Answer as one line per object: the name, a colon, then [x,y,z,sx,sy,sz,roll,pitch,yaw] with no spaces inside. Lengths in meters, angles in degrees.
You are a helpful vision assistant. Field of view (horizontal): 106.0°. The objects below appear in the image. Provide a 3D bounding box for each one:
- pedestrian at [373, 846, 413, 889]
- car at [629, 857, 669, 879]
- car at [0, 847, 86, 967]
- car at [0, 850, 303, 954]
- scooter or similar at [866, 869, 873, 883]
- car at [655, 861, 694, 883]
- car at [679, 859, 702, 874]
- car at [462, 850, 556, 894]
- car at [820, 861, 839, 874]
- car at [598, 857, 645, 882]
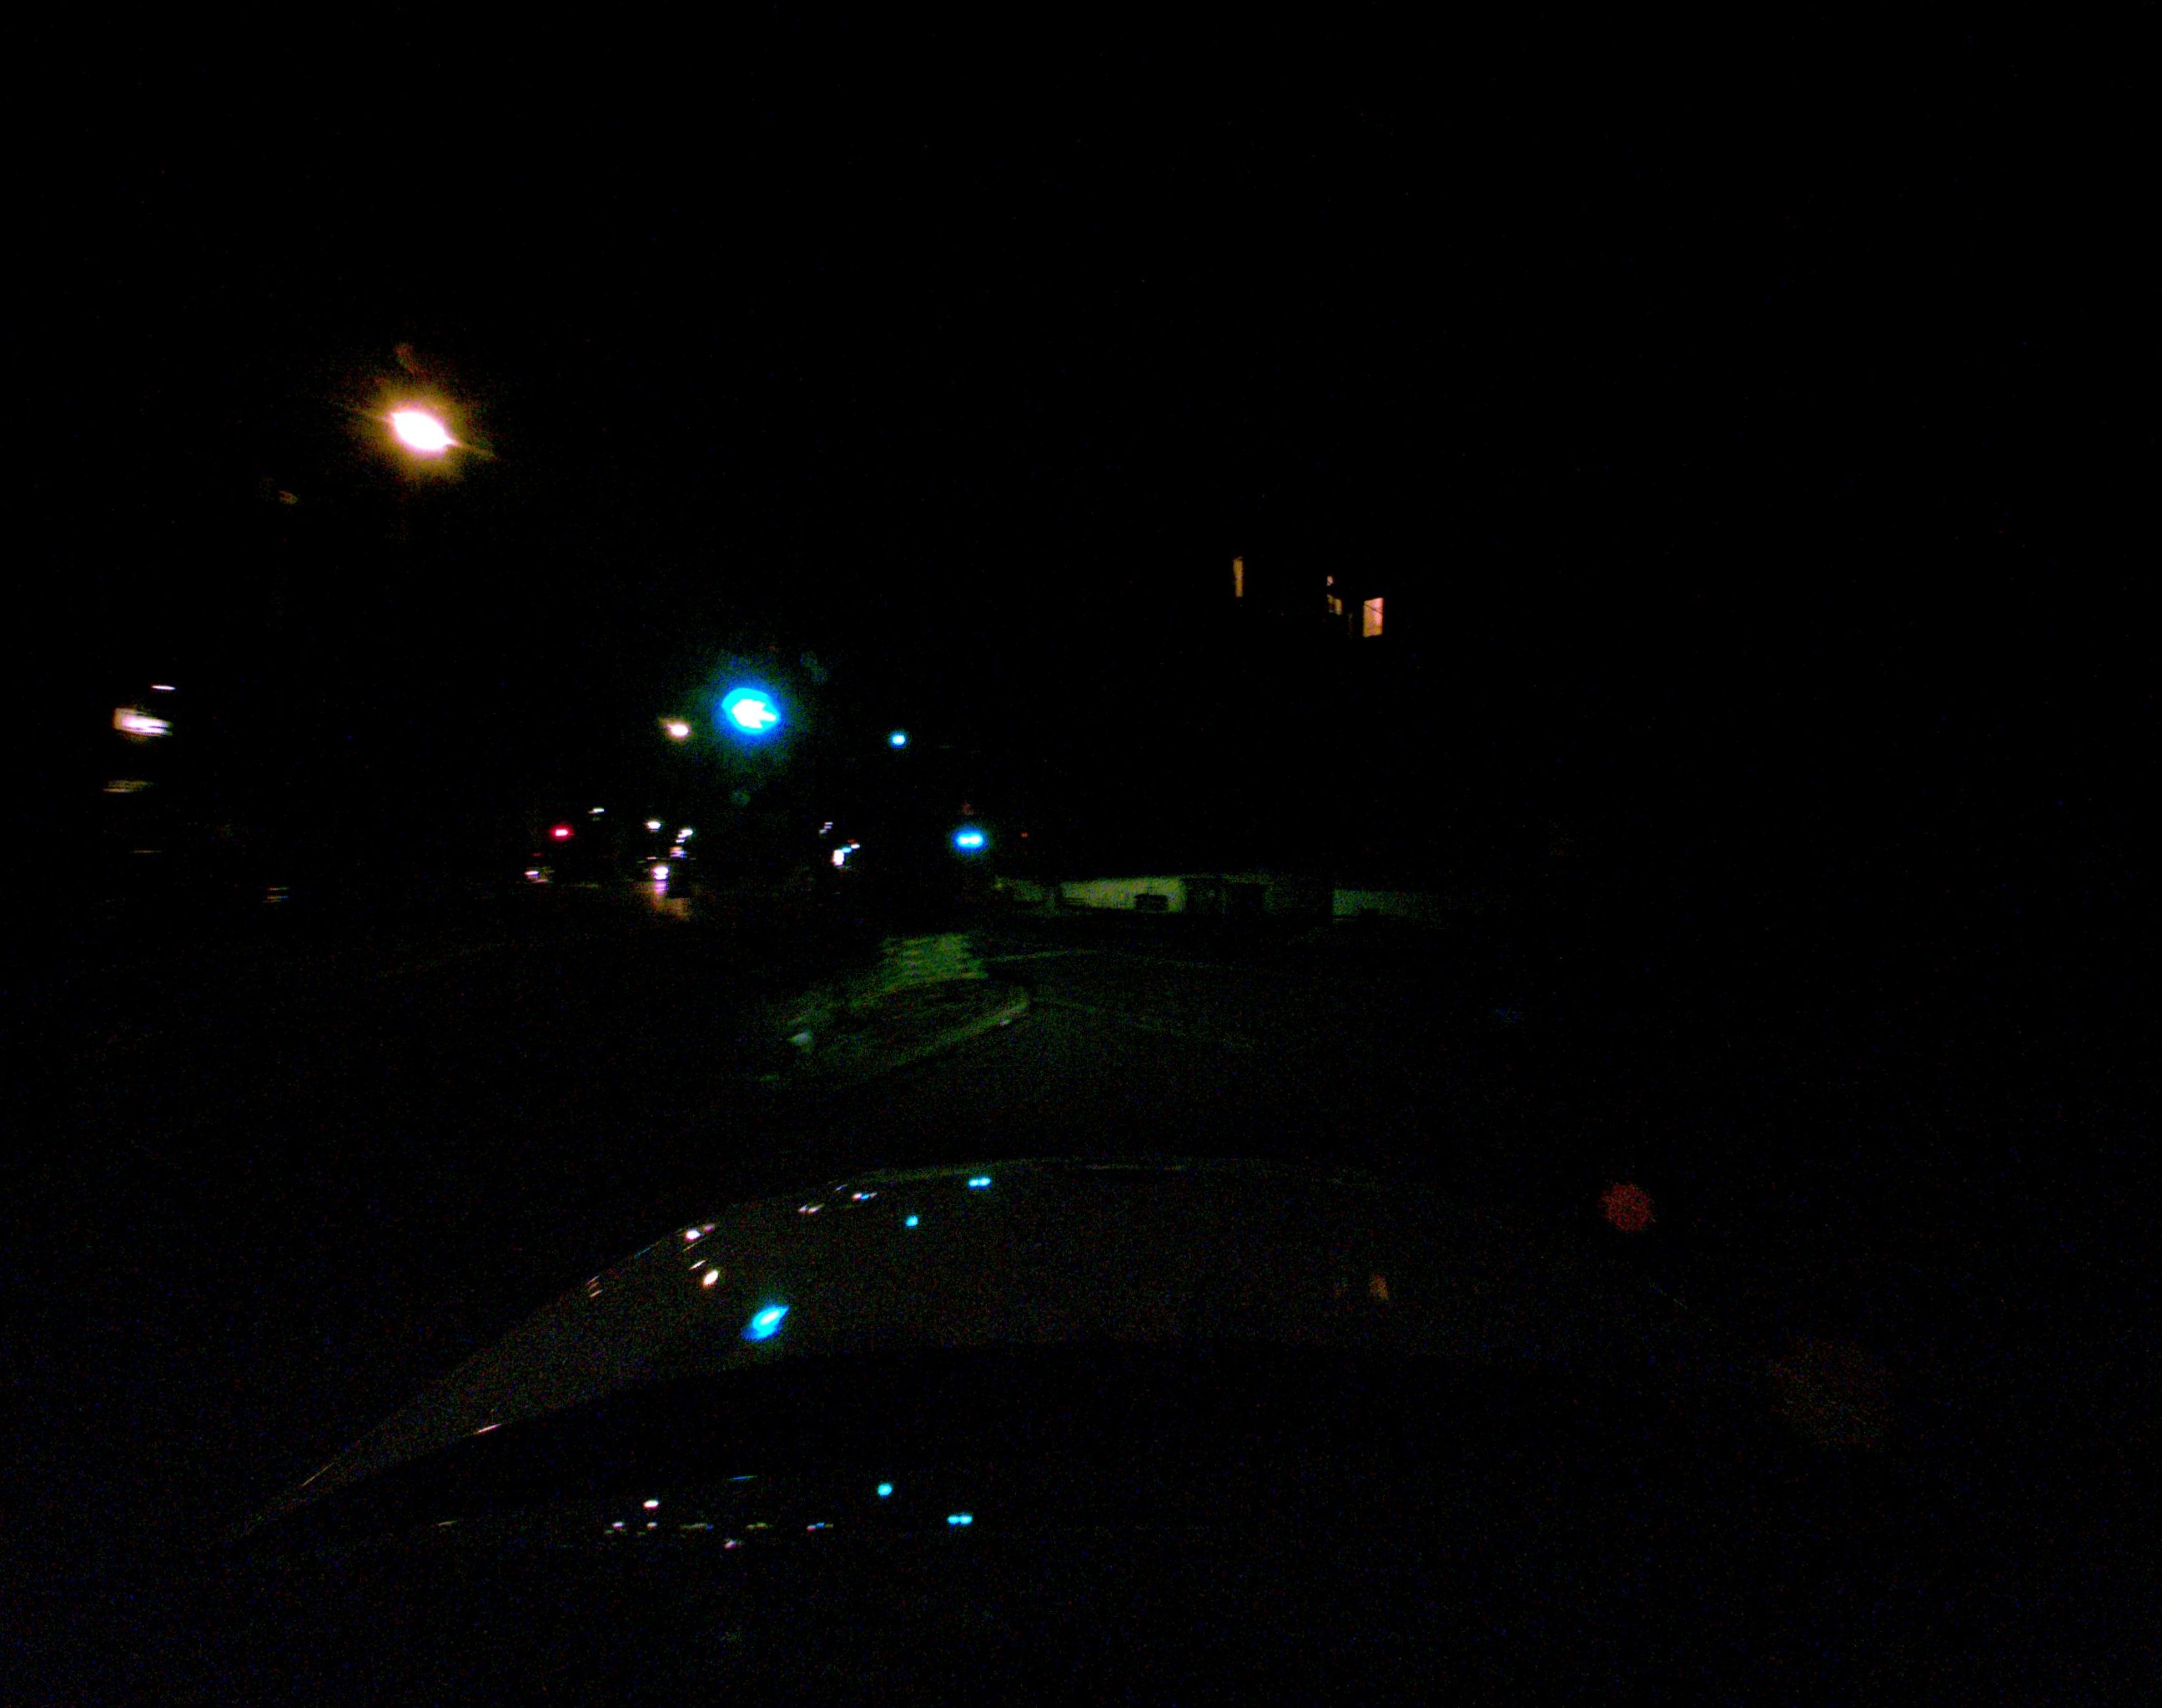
pedestrian: [-27.859,0.561,32.992,0.709,1.690,1.121,2,-1,-9]
car: [-32.427,1.043,61.231,1.789,1.491,4.304,5,-2,-17]
car: [-14.008,0.611,8.868,1.866,1.479,4.444,3,-2,-19]
car: [-15.656,0.725,13.739,1.866,1.434,4.414,4,-2,-19]
scooter or similar: [-16.835,1.738,64.708,0.422,1.130,1.487,2,-1,-11]
car: [-26.906,1.163,54.023,1.720,1.429,3.975,1,-1,-19]
car: [-41.368,1.344,86.373,1.791,1.416,4.098,4,-2,-21]
car: [-23.285,0.730,33.335,1.891,1.596,4.000,4,-2,-17]
car: [-30.673,1.678,99.340,1.741,1.460,4.691,3,-1,-23]
car: [-29.898,0.995,53.097,1.595,1.491,3.680,5,-2,-14]
